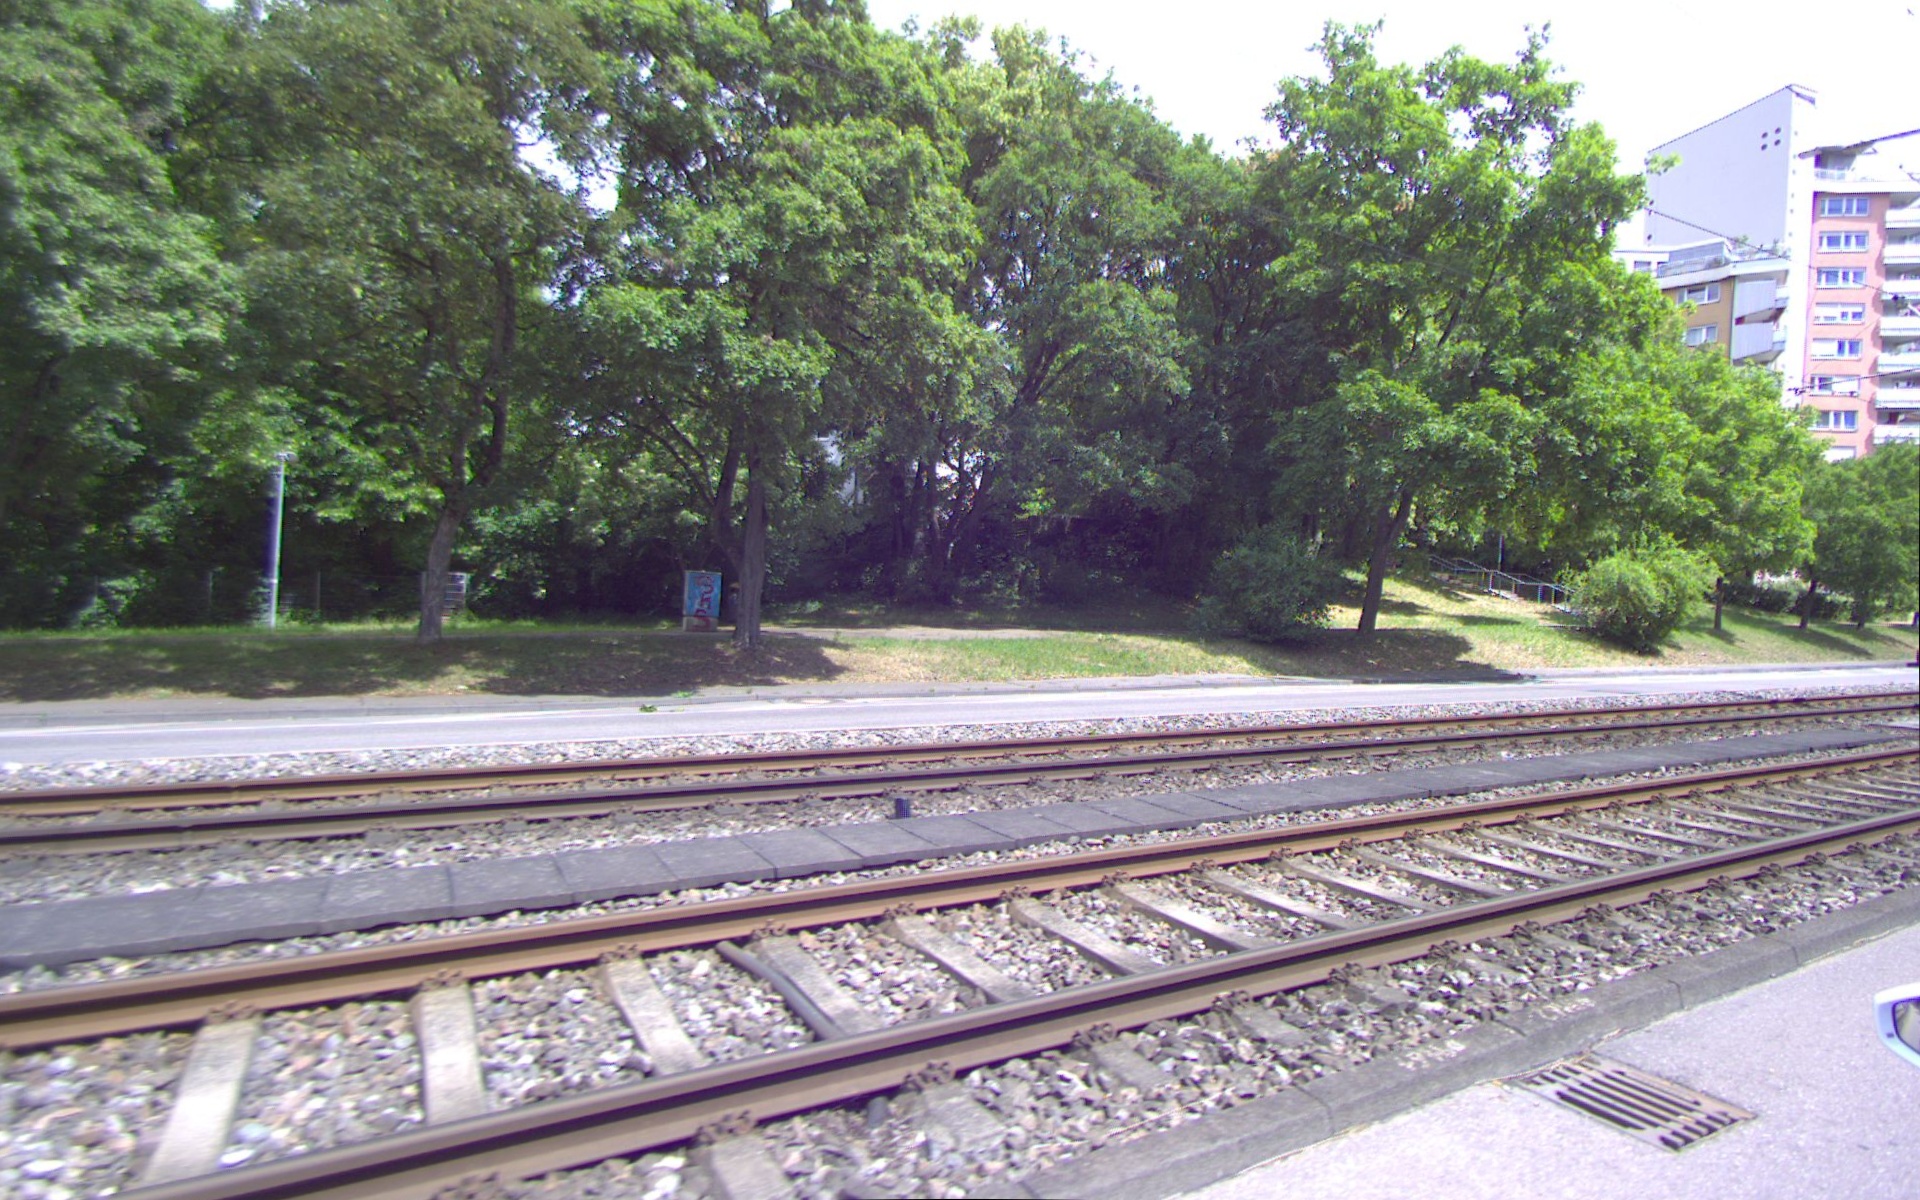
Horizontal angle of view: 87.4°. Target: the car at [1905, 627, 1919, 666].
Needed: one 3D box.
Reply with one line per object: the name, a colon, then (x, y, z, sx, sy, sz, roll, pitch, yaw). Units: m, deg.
car: (39.211, 1.860, 39.732, 3.955, 1.518, 1.764, 2, 0, -33)
